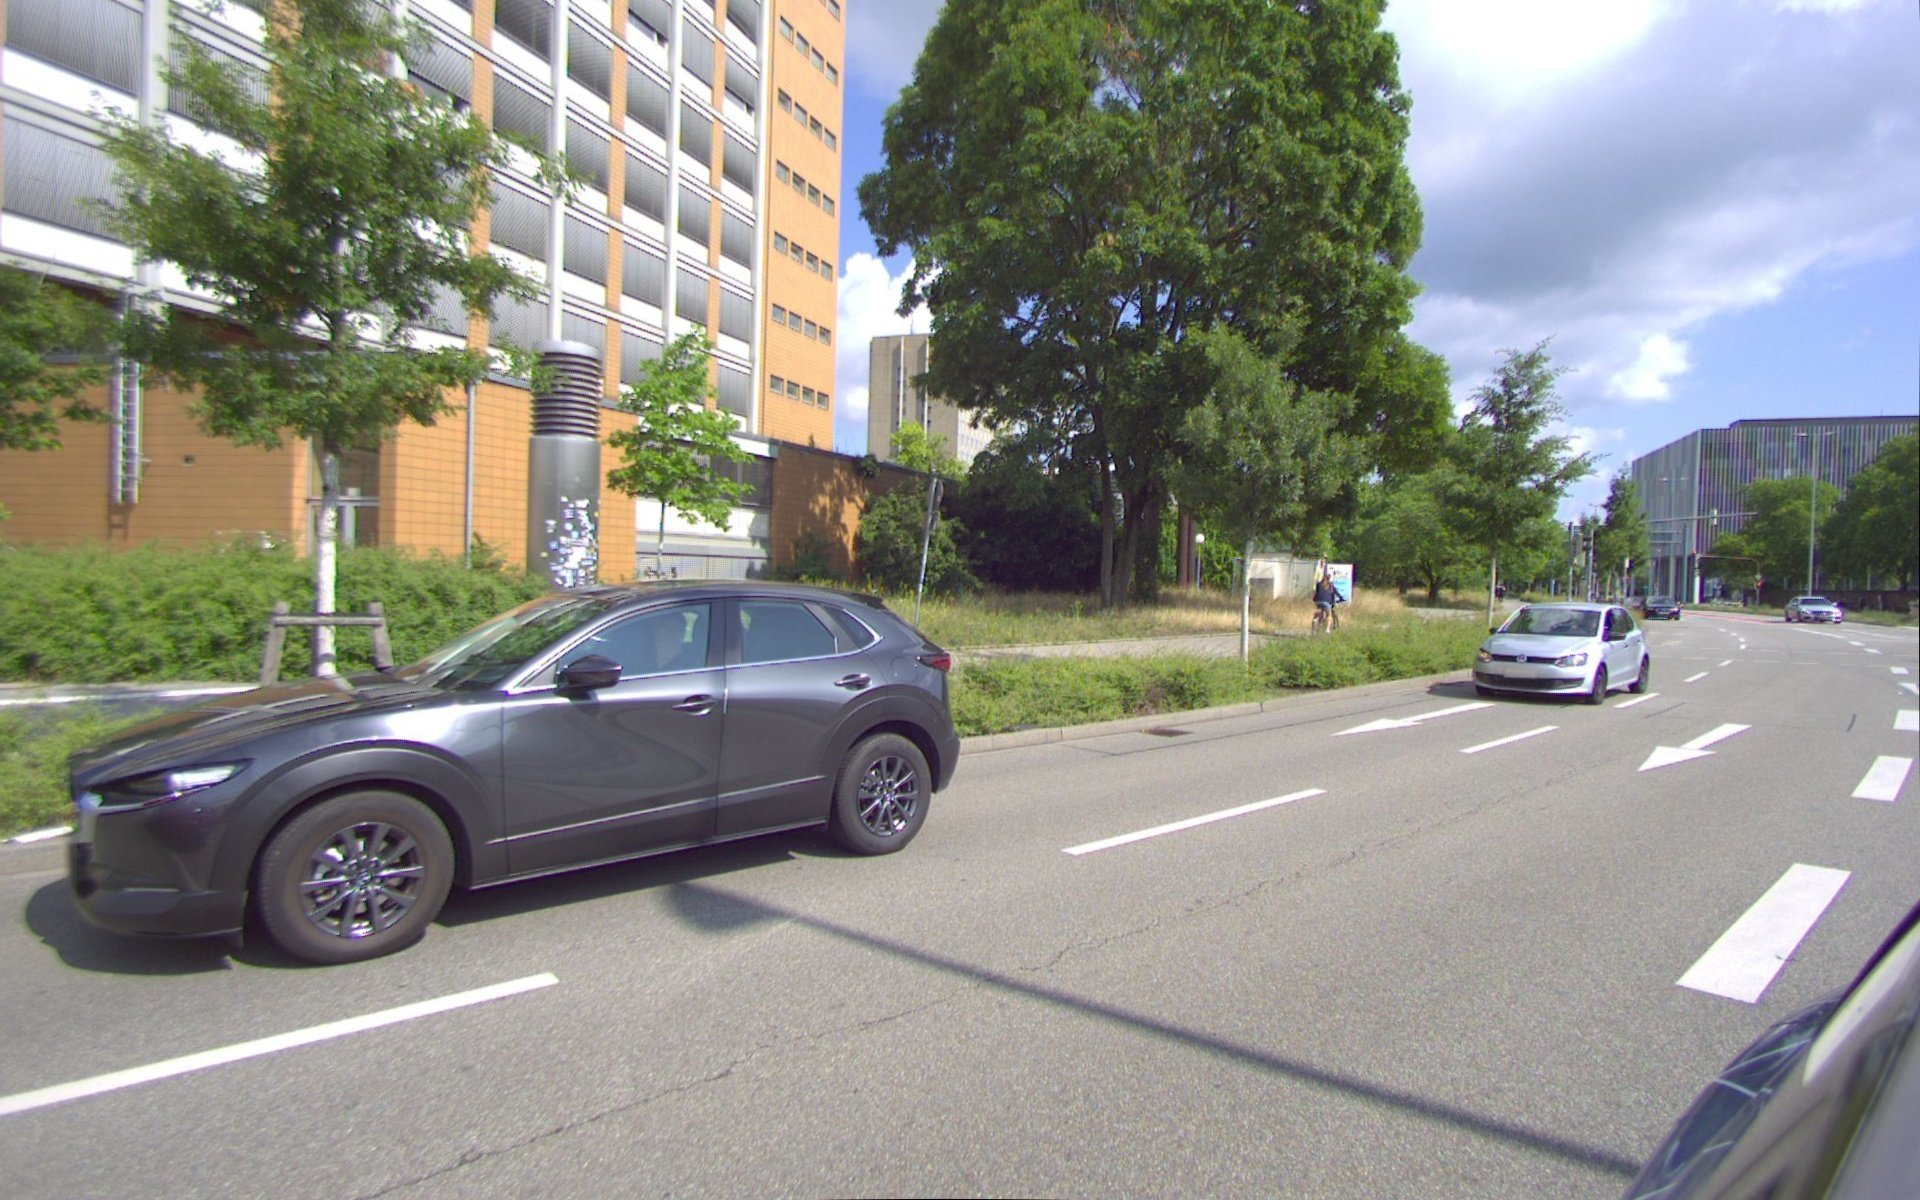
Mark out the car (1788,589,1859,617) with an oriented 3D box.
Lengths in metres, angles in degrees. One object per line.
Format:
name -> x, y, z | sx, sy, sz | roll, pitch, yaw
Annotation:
car -> 48.187, 0.152, 56.569 | 2.043, 1.460, 4.734 | 0, 1, 28

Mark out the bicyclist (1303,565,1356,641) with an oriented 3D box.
bicyclist -> 8.699, 0.066, 23.806 | 0.949, 1.723, 0.737 | 0, 3, -43

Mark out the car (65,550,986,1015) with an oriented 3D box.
car -> -1.981, 0.582, 5.382 | 4.132, 1.527, 1.809 | 0, 1, -42

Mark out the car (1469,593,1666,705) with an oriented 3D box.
car -> 9.432, 0.663, 15.588 | 3.939, 1.460, 1.652 | 0, 1, -44

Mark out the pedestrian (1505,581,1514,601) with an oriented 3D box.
pedestrian -> 47.242, -0.766, 86.963 | 0.535, 1.628, 0.521 | 2, -1, 20

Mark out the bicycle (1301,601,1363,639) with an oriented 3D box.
bicycle -> 8.797, 0.458, 23.915 | 1.759, 0.820, 0.626 | 0, 3, -43

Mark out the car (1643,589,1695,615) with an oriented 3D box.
car -> 41.946, 0.076, 59.965 | 1.982, 1.394, 4.120 | 3, 2, 28
